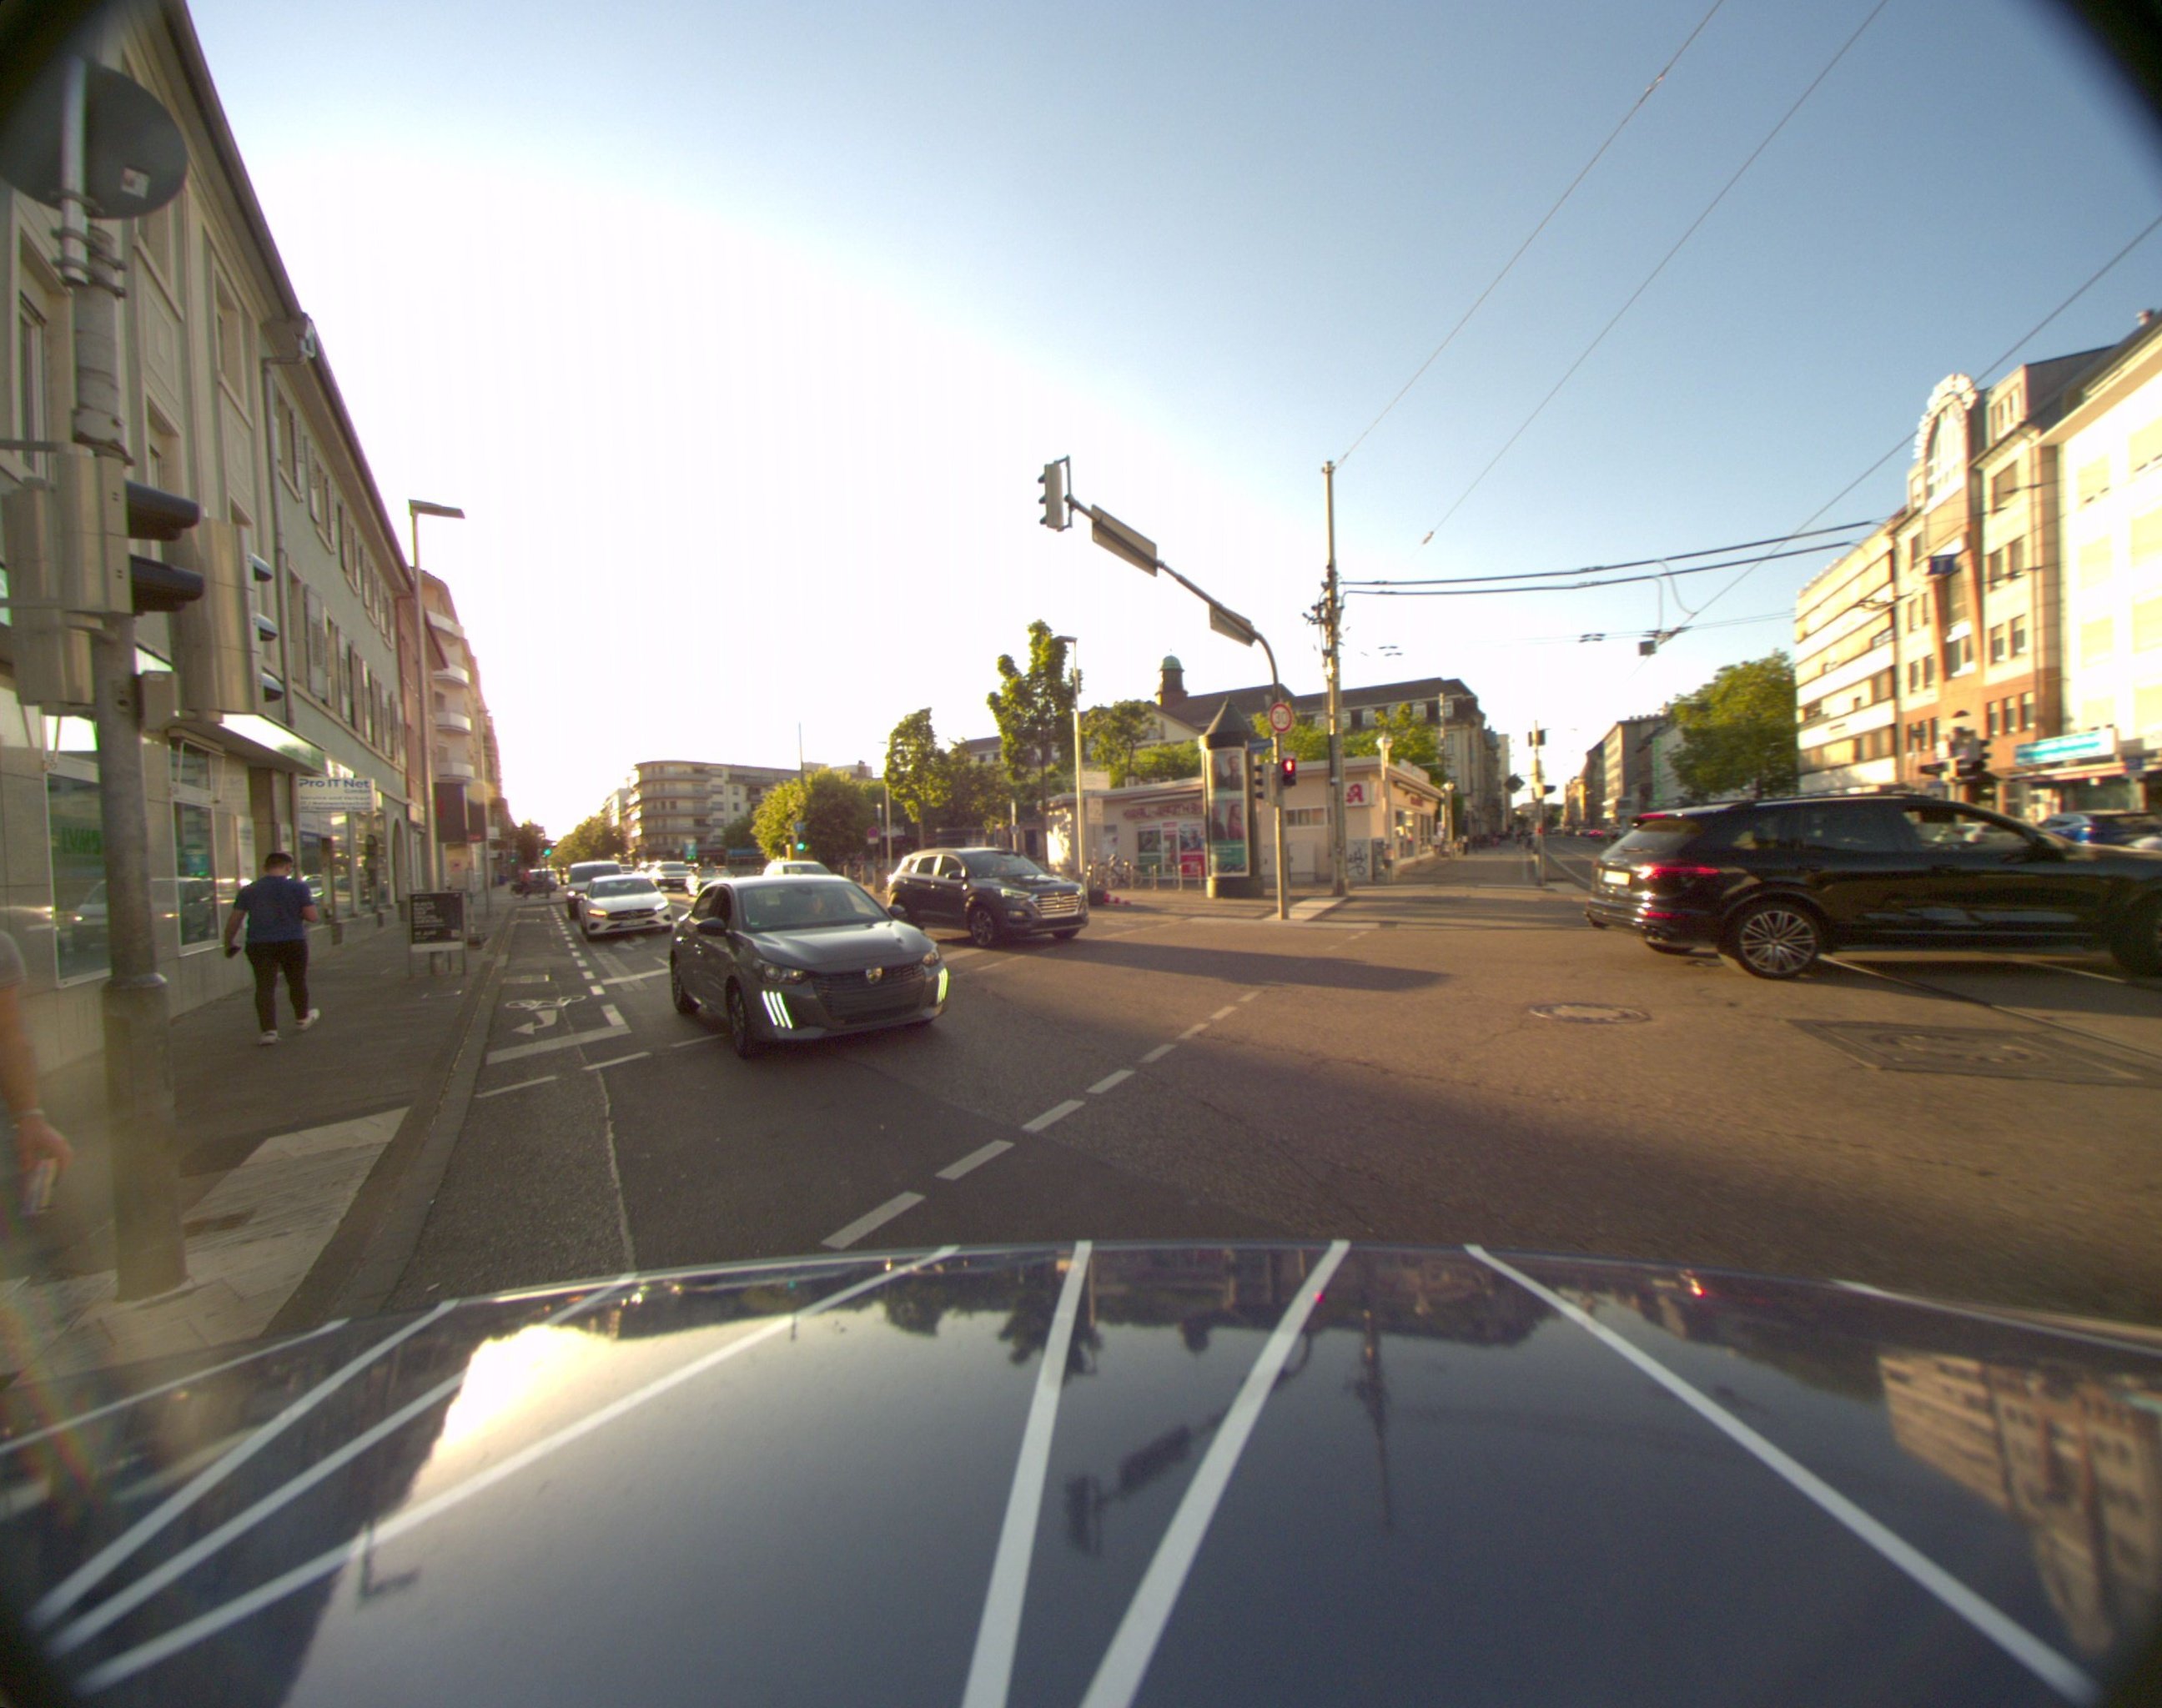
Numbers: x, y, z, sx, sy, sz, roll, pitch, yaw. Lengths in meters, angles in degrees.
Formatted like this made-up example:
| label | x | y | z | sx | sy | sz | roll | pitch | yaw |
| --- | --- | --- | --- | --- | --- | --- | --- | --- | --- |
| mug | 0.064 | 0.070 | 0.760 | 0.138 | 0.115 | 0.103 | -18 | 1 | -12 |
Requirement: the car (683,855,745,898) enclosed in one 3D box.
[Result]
| label | x | y | z | sx | sy | sz | roll | pitch | yaw |
| --- | --- | --- | --- | --- | --- | --- | --- | --- | --- |
| car | -16.228 | 0.947 | 33.534 | 1.832 | 1.730 | 3.975 | -1 | 0 | -35 |

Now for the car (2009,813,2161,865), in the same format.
| label | x | y | z | sx | sy | sz | roll | pitch | yaw |
| --- | --- | --- | --- | --- | --- | --- | --- | --- | --- |
| car | 29.929 | -0.446 | 22.734 | 1.633 | 1.345 | 3.395 | -4 | -1 | 31 |

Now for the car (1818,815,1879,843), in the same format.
| label | x | y | z | sx | sy | sz | roll | pitch | yaw |
| --- | --- | --- | --- | --- | --- | --- | --- | --- | --- |
| car | 39.964 | -1.283 | 39.641 | 1.457 | 1.284 | 3.152 | -4 | -1 | 31 |

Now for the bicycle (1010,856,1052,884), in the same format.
| label | x | y | z | sx | sy | sz | roll | pitch | yaw |
| --- | --- | --- | --- | --- | --- | --- | --- | --- | --- |
| bicycle | -2.088 | 0.666 | 31.832 | 1.815 | 1.096 | 0.395 | -3 | 2 | -36 |

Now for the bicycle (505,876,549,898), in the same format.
| label | x | y | z | sx | sy | sz | roll | pitch | yaw |
| --- | --- | --- | --- | --- | --- | --- | --- | --- | --- |
| bicycle | -28.726 | 1.706 | 39.428 | 1.706 | 1.051 | 0.561 | -3 | 2 | -24 |

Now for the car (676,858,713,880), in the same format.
| label | x | y | z | sx | sy | sz | roll | pitch | yaw |
| --- | --- | --- | --- | --- | --- | --- | --- | --- | --- |
| car | -29.799 | 1.141 | 58.519 | 1.884 | 1.594 | 3.989 | -3 | 1 | -36 |

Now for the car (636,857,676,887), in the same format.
| label | x | y | z | sx | sy | sz | roll | pitch | yaw |
| --- | --- | --- | --- | --- | --- | --- | --- | --- | --- |
| car | -27.355 | 1.137 | 48.899 | 1.884 | 1.762 | 3.990 | -3 | 1 | -33 |

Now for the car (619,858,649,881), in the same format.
| label | x | y | z | sx | sy | sz | roll | pitch | yaw |
| --- | --- | --- | --- | --- | --- | --- | --- | --- | --- |
| car | -37.222 | 1.297 | 63.239 | 1.884 | 1.762 | 3.990 | -3 | 1 | -33 |

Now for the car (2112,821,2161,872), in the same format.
| label | x | y | z | sx | sy | sz | roll | pitch | yaw |
| --- | --- | --- | --- | --- | --- | --- | --- | --- | --- |
| car | 27.767 | -0.218 | 18.683 | 1.633 | 1.246 | 3.395 | -4 | -1 | 31 |

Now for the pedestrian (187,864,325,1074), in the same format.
| label | x | y | z | sx | sy | sz | roll | pitch | yaw |
| --- | --- | --- | --- | --- | --- | --- | --- | --- | --- |
| pedestrian | -7.771 | 1.018 | 7.204 | 0.694 | 1.817 | 0.878 | -2 | 1 | -39 |

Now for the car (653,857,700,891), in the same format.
| label | x | y | z | sx | sy | sz | roll | pitch | yaw |
| --- | --- | --- | --- | --- | --- | --- | --- | --- | --- |
| car | -22.528 | 1.079 | 42.253 | 1.832 | 1.730 | 3.975 | -1 | 0 | -35 |

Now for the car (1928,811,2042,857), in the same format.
| label | x | y | z | sx | sy | sz | roll | pitch | yaw |
| --- | --- | --- | --- | --- | --- | --- | --- | --- | --- |
| car | 33.381 | -0.731 | 28.169 | 1.633 | 1.455 | 3.395 | -4 | -1 | 31 |

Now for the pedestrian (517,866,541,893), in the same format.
| label | x | y | z | sx | sy | sz | roll | pitch | yaw |
| --- | --- | --- | --- | --- | --- | --- | --- | --- | --- |
| pedestrian | -28.702 | 1.310 | 39.532 | 0.860 | 1.343 | 0.561 | -3 | 2 | -24 |

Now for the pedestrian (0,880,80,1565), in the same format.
| label | x | y | z | sx | sy | sz | roll | pitch | yaw |
| --- | --- | --- | --- | --- | --- | --- | --- | --- | --- |
| pedestrian | -3.102 | 0.953 | 1.793 | 0.655 | 1.732 | 0.692 | -3 | 2 | -37 |

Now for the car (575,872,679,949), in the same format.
| label | x | y | z | sx | sy | sz | roll | pitch | yaw |
| --- | --- | --- | --- | --- | --- | --- | --- | --- | --- |
| car | -11.377 | 1.298 | 18.928 | 1.831 | 1.464 | 3.975 | -6 | 3 | -34 |

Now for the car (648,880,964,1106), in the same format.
| label | x | y | z | sx | sy | sz | roll | pitch | yaw |
| --- | --- | --- | --- | --- | --- | --- | --- | --- | --- |
| car | -2.881 | 1.038 | 7.375 | 1.755 | 1.434 | 3.896 | -4 | 1 | -37 |

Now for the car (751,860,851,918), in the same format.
| label | x | y | z | sx | sy | sz | roll | pitch | yaw |
| --- | --- | --- | --- | --- | --- | --- | --- | --- | --- |
| car | -8.240 | 0.945 | 22.140 | 1.722 | 1.463 | 3.975 | -3 | 1 | -35 |

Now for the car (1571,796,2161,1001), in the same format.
| label | x | y | z | sx | sy | sz | roll | pitch | yaw |
| --- | --- | --- | --- | --- | --- | --- | --- | --- | --- |
| car | 7.744 | 0.410 | 7.446 | 4.561 | 1.688 | 1.808 | -2 | 1 | 13 |

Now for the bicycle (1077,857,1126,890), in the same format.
| label | x | y | z | sx | sy | sz | roll | pitch | yaw |
| --- | --- | --- | --- | --- | --- | --- | --- | --- | --- |
| bicycle | 0.772 | 0.688 | 27.941 | 1.875 | 1.108 | 0.447 | -3 | 2 | -35 |

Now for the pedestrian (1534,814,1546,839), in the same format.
| label | x | y | z | sx | sy | sz | roll | pitch | yaw |
| --- | --- | --- | --- | --- | --- | --- | --- | --- | --- |
| pedestrian | 37.752 | -2.282 | 62.486 | 0.713 | 2.003 | 0.842 | -2 | 5 | 33 |

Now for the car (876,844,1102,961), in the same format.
| label | x | y | z | sx | sy | sz | roll | pitch | yaw |
| --- | --- | --- | --- | --- | --- | --- | --- | --- | --- |
| car | -1.777 | 0.746 | 13.486 | 1.832 | 1.688 | 4.248 | -3 | 1 | -41 |

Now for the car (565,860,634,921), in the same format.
| label | x | y | z | sx | sy | sz | roll | pitch | yaw |
| --- | --- | --- | --- | --- | --- | --- | --- | --- | --- |
| car | -16.880 | 1.182 | 26.553 | 1.832 | 1.918 | 3.975 | -1 | 0 | -35 |

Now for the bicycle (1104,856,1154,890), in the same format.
| label | x | y | z | sx | sy | sz | roll | pitch | yaw |
| --- | --- | --- | --- | --- | --- | --- | --- | --- | --- |
| bicycle | 1.729 | 0.661 | 27.202 | 1.875 | 1.108 | 0.447 | -3 | 2 | -35 |
